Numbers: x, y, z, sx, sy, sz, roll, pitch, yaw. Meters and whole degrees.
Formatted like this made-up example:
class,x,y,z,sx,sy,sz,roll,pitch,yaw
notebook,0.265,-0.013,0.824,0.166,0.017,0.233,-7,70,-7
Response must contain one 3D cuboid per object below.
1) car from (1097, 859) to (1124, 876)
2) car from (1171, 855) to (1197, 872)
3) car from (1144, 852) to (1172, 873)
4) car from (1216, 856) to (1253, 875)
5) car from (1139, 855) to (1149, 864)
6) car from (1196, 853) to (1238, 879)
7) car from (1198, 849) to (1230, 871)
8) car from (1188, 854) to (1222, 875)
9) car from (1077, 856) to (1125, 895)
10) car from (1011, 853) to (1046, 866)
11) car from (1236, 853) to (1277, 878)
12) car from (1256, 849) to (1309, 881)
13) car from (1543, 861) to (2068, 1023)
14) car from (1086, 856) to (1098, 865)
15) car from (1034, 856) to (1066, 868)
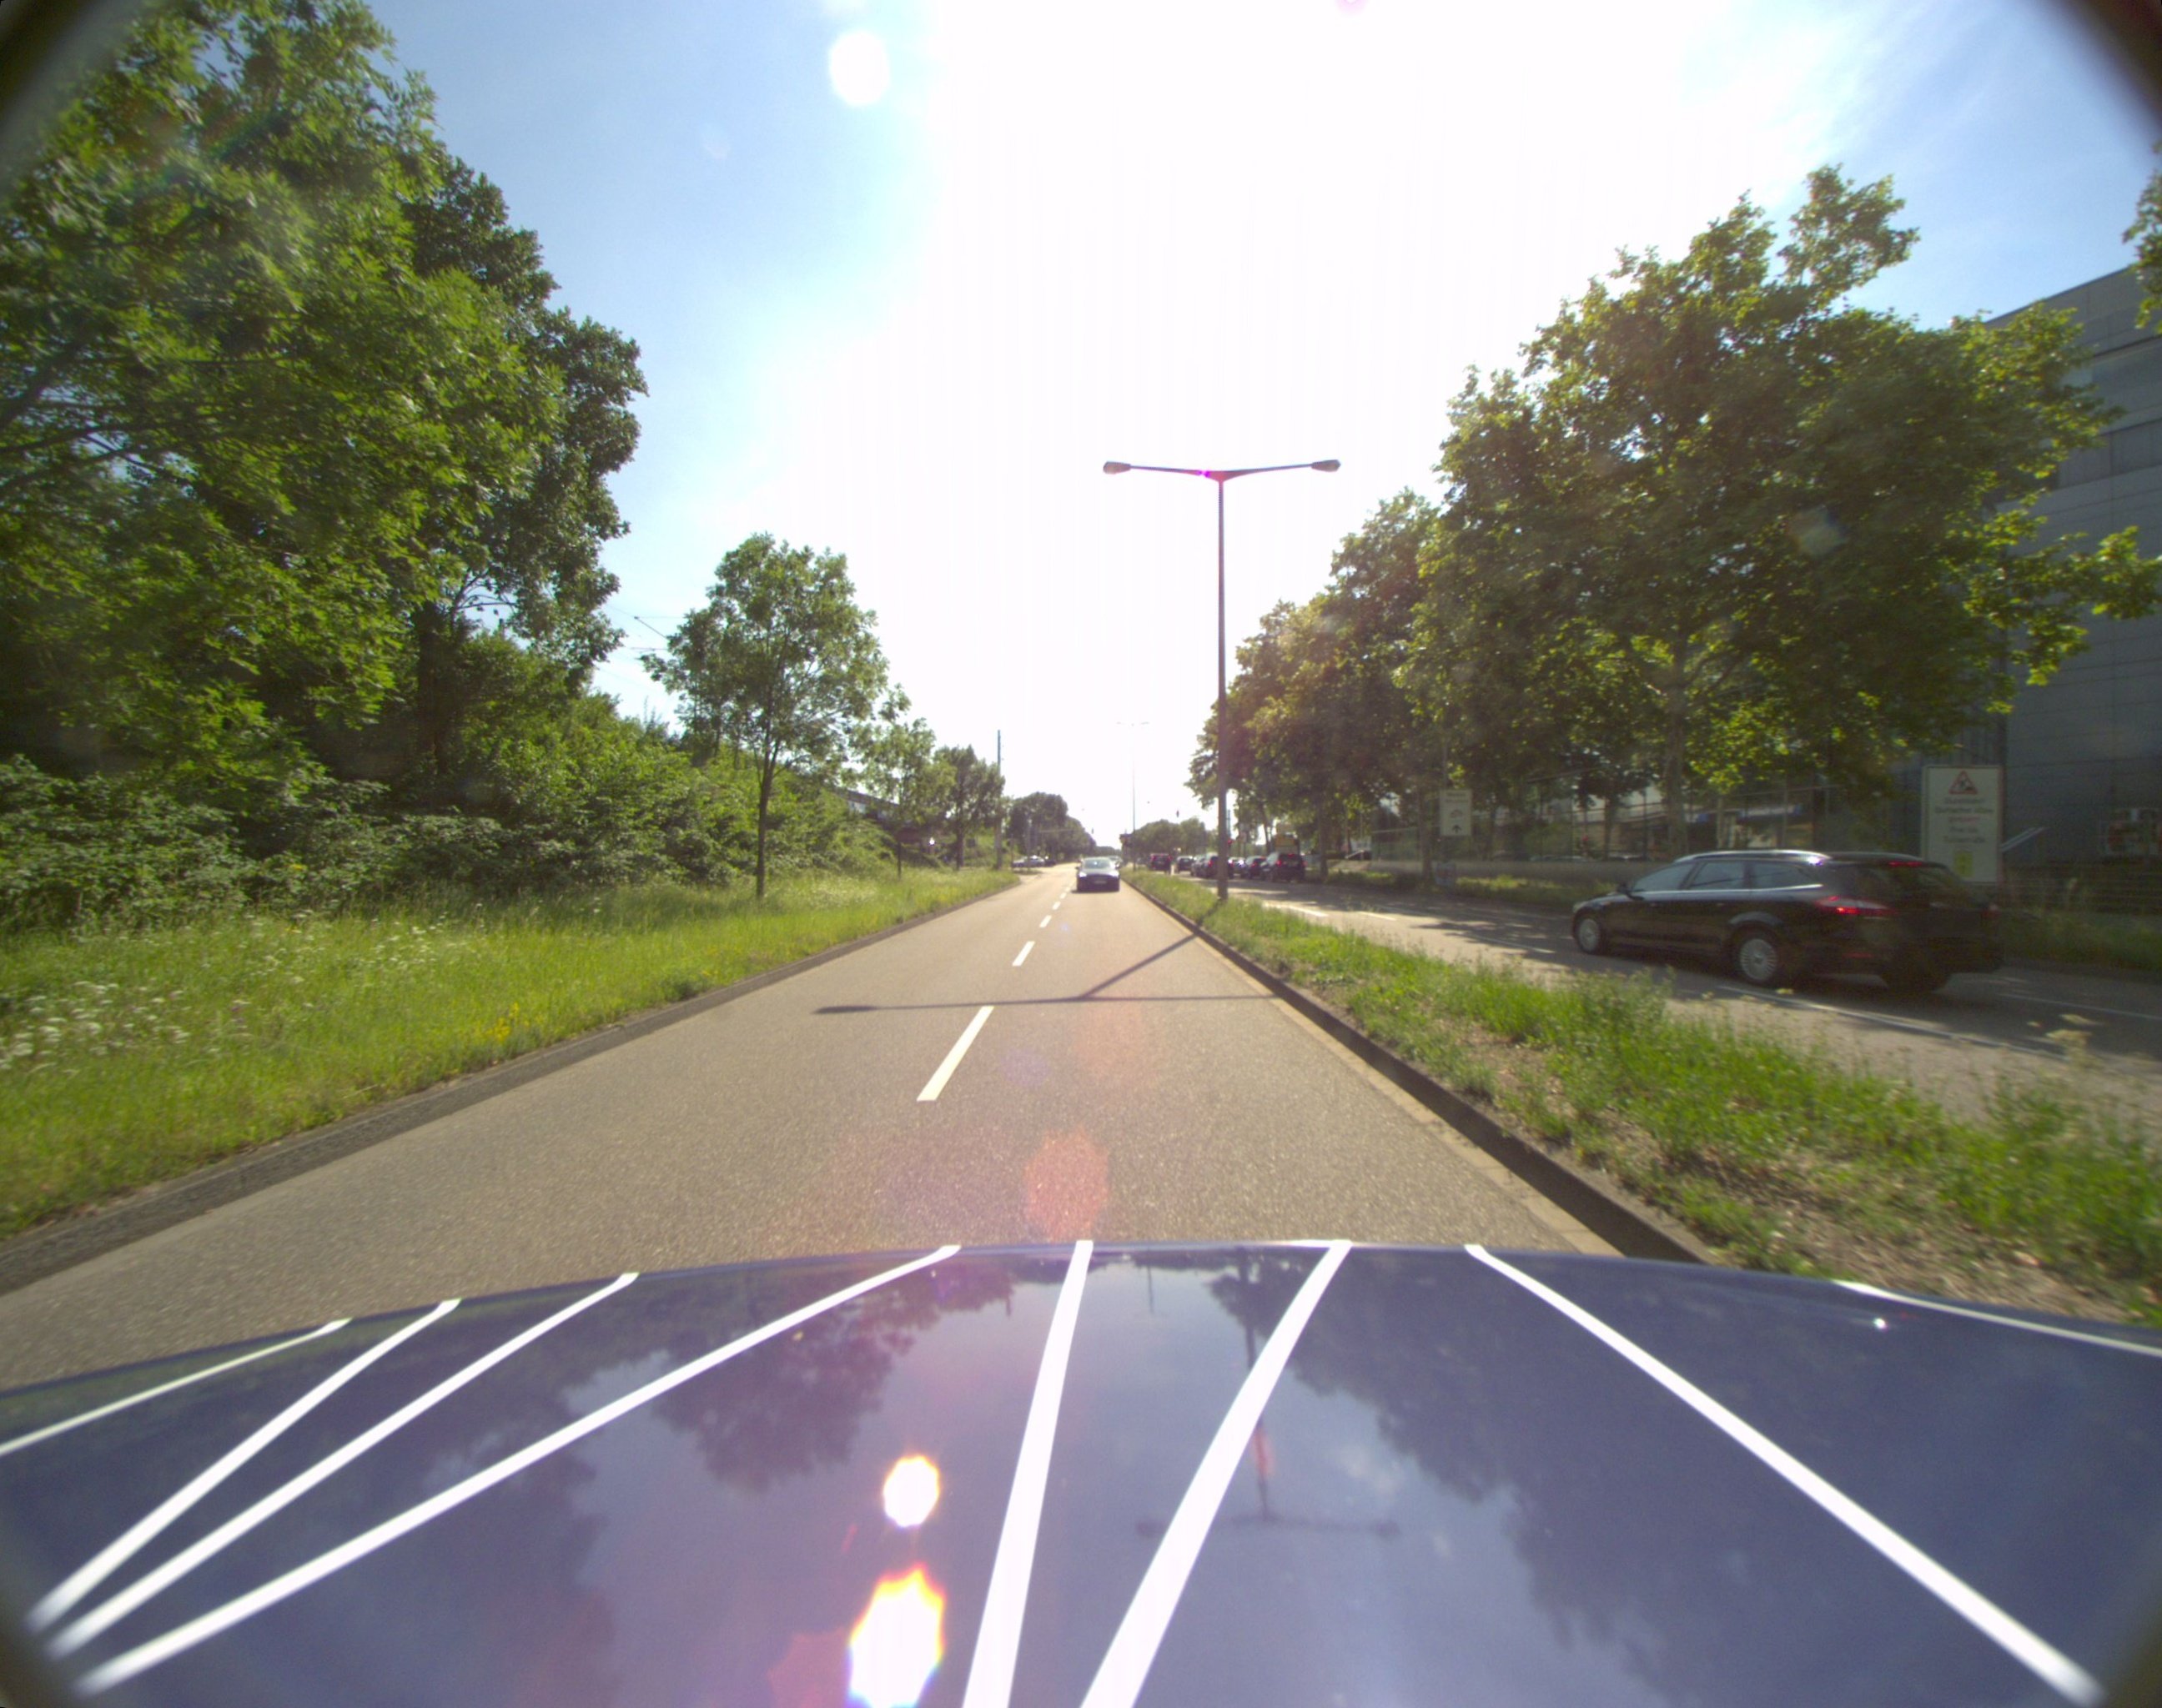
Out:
class,x,y,z,sx,sy,sz,roll,pitch,yaw
car,3.151,1.423,79.988,1.996,1.699,4.435,0,0,13
car,9.191,0.822,67.862,1.766,1.466,3.958,0,0,0
car,6.288,0.682,62.642,1.812,1.606,4.491,0,0,-1
car,11.990,0.870,59.605,1.895,1.441,5.004,1,0,1
car,13.931,1.295,167.464,1.998,1.713,5.168,-1,-2,5
car,8.907,0.770,50.261,1.998,1.601,4.496,0,0,0
car,11.968,0.588,68.623,1.943,1.908,5.229,0,-1,0
car,9.229,0.757,56.929,1.840,1.454,4.517,2,0,1
car,0.800,0.864,32.263,1.827,1.497,4.216,-2,0,0
car,-6.714,0.666,97.153,4.007,1.619,1.768,0,1,-32
car,12.164,0.764,52.844,1.892,1.581,4.446,1,0,1
car,12.071,0.646,45.904,1.998,1.824,4.651,1,0,0
car,8.327,0.849,9.633,1.832,1.459,4.987,0,0,-1
car,1.942,1.185,130.054,1.714,1.384,4.004,-1,-2,6
car,-4.161,1.081,101.420,4.007,1.619,1.768,0,1,-35
